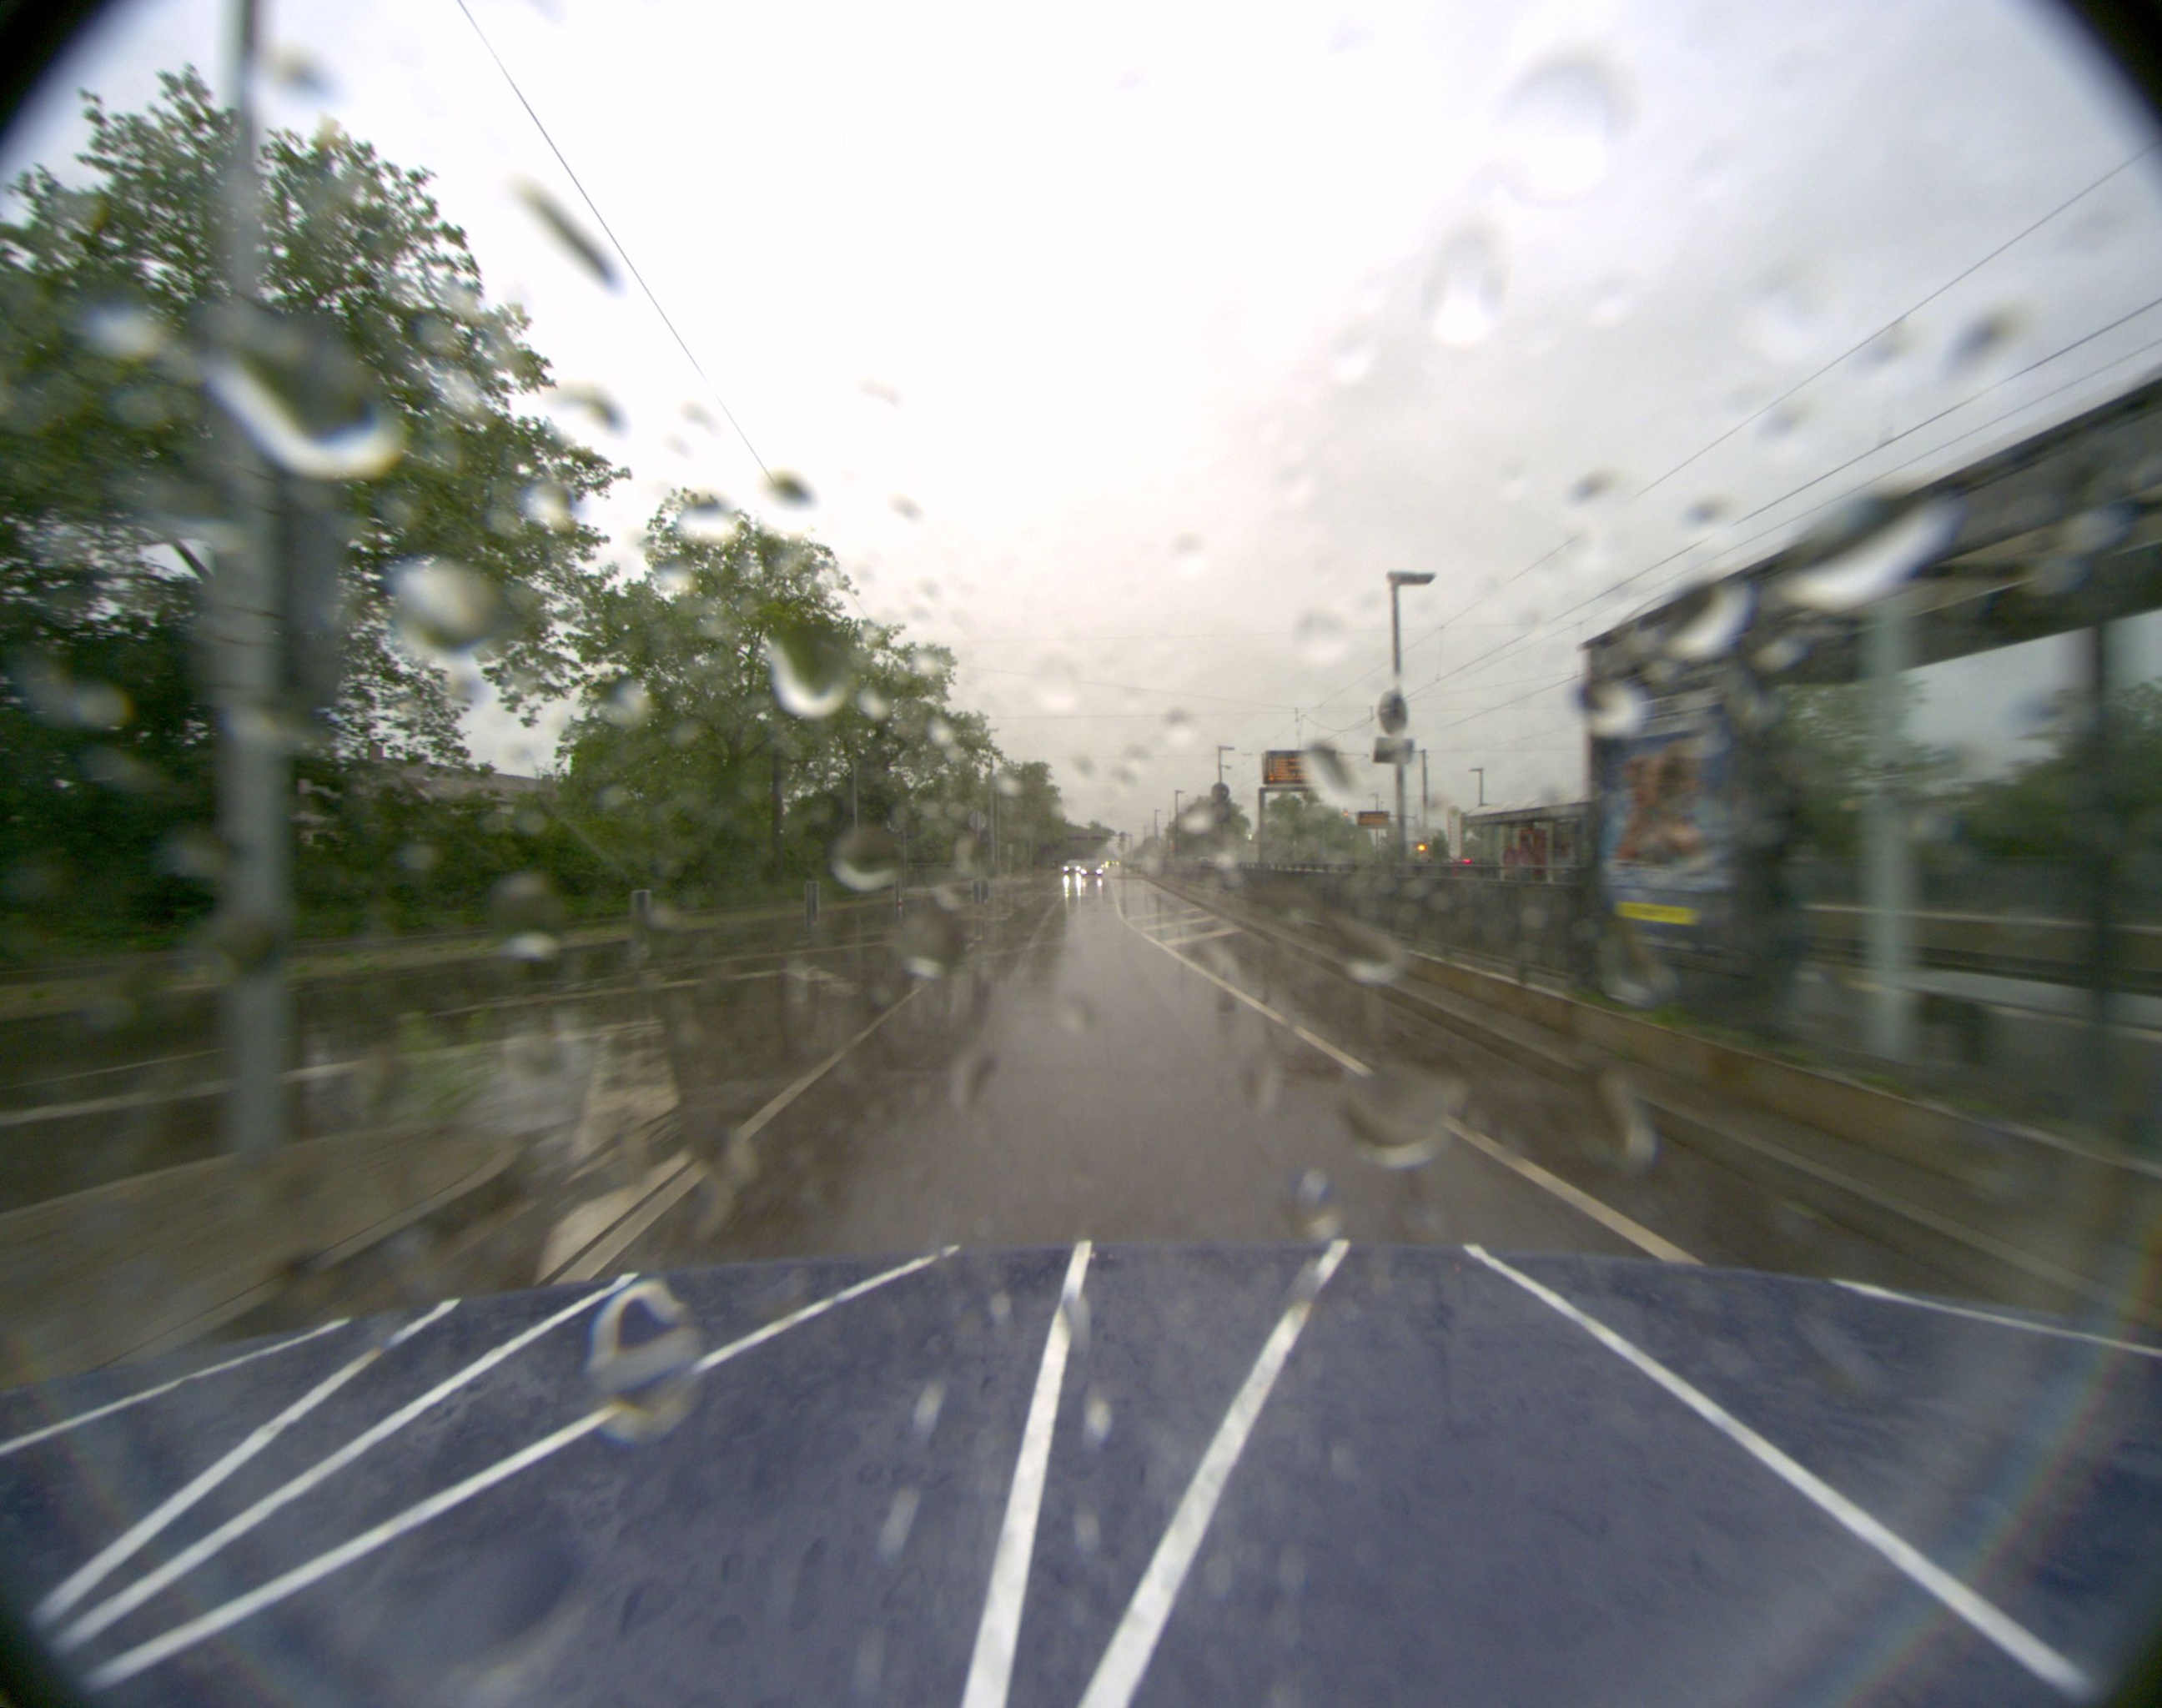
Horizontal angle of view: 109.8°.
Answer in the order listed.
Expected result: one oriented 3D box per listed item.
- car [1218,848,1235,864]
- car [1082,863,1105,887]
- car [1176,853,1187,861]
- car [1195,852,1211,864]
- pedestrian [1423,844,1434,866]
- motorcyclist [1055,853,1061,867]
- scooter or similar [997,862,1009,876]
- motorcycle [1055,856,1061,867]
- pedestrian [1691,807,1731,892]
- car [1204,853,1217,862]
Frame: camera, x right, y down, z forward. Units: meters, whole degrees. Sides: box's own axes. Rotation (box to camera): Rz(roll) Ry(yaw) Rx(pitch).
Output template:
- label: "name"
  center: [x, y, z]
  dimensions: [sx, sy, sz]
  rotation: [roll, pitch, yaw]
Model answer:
- label: "car"
  center: [25.546, 0.406, 133.667]
  dimensions: [2.125, 2.696, 5.739]
  rotation: [-2, 0, 2]
- label: "car"
  center: [1.166, 1.896, 69.466]
  dimensions: [1.998, 2.002, 4.001]
  rotation: [-1, 0, 3]
- label: "car"
  center: [23.031, 0.647, 174.643]
  dimensions: [1.998, 1.761, 4.258]
  rotation: [-2, 0, 2]
- label: "car"
  center: [21.291, 0.776, 132.675]
  dimensions: [1.998, 2.002, 4.754]
  rotation: [-2, 0, 2]
- label: "pedestrian"
  center: [30.954, 0.090, 67.657]
  dimensions: [0.700, 2.002, 0.697]
  rotation: [-1, 0, 3]
- label: "motorcyclist"
  center: [-3.732, 0.929, 123.880]
  dimensions: [0.762, 2.245, 0.916]
  rotation: [-1, 1, 2]
- label: "scooter or similar"
  center: [-7.467, 1.477, 72.949]
  dimensions: [0.761, 1.285, 1.647]
  rotation: [-1, 0, 5]
- label: "motorcycle"
  center: [-3.758, 1.178, 124.012]
  dimensions: [0.845, 1.710, 2.586]
  rotation: [-2, 0, 2]
- label: "pedestrian"
  center: [30.357, -0.222, 36.635]
  dimensions: [1.169, 4.005, 1.522]
  rotation: [-1, 1, 30]
- label: "car"
  center: [25.518, 0.742, 150.094]
  dimensions: [1.998, 1.696, 4.626]
  rotation: [-2, 0, 2]
